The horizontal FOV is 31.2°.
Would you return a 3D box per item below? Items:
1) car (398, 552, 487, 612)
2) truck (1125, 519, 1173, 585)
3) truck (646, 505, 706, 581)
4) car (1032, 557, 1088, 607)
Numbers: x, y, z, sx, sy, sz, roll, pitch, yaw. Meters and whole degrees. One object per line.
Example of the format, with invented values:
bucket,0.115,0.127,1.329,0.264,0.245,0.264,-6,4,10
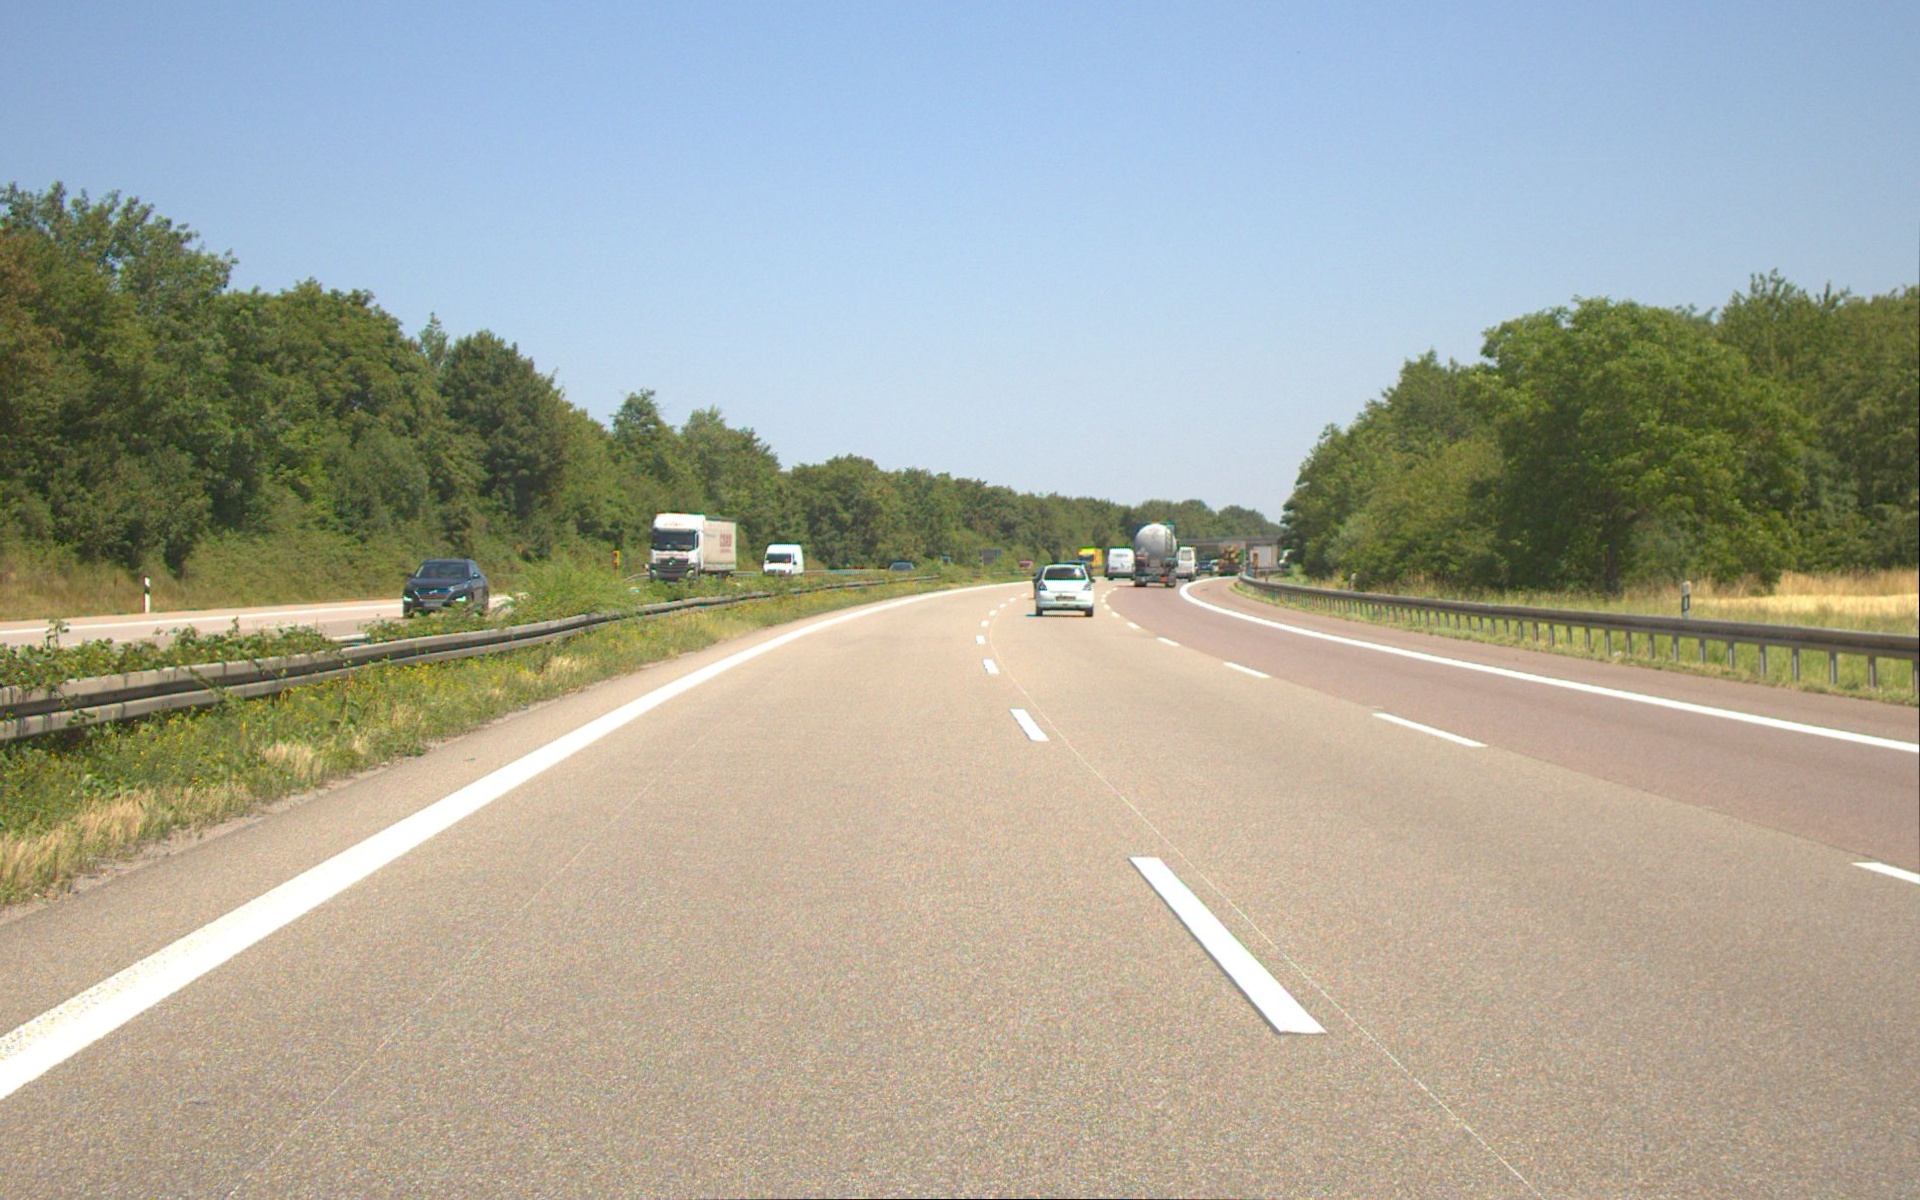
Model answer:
car,-14.338,-0.521,95.417,1.825,1.626,4.559,0,1,0
truck,11.756,-2.951,214.494,2.739,4.038,10.454,0,0,2
truck,-15.049,-3.018,182.379,2.702,3.952,4.443,0,1,1
car,2.970,-0.538,101.819,1.627,1.474,4.000,0,0,2
